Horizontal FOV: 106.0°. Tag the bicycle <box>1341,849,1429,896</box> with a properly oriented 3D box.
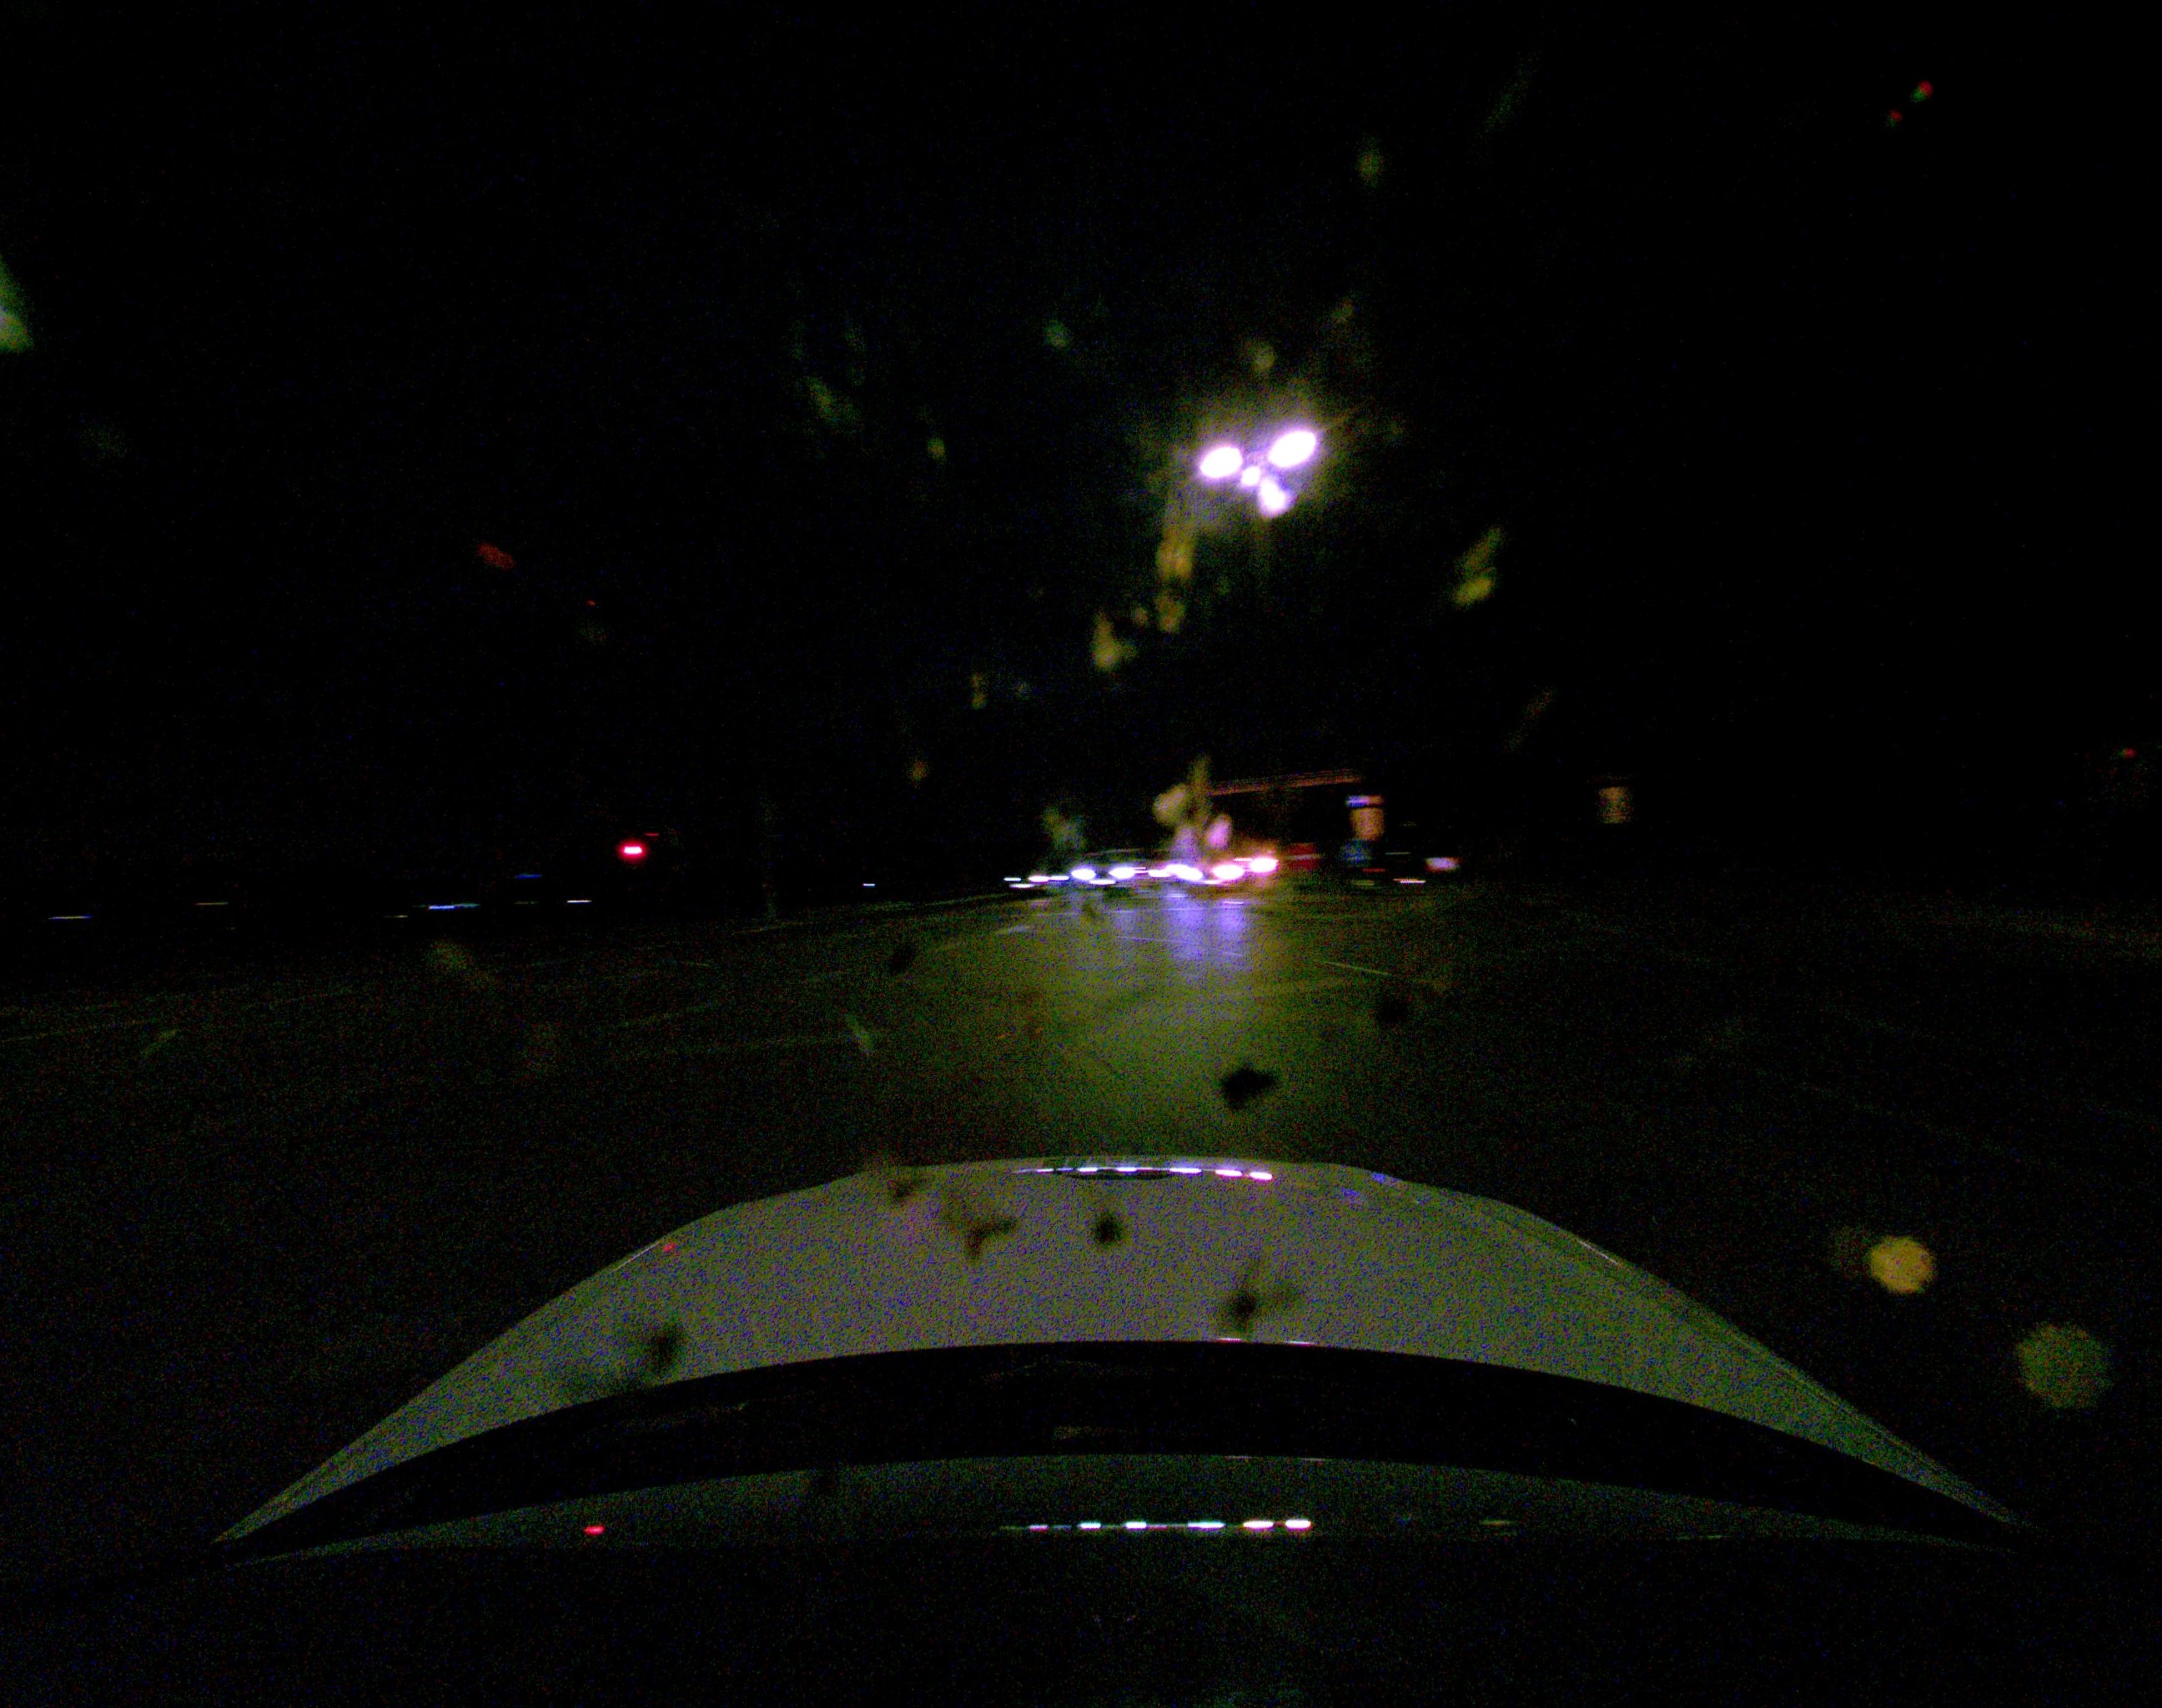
[{"bbox_3d":[7.900,0.482,21.258,2.046,1.101,0.698,-3,-1,14],"label":"bicycle"}]

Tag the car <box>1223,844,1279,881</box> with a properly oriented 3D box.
[{"bbox_3d":[7.607,0.335,36.199,1.758,1.481,3.931,-2,0,21],"label":"car"}]

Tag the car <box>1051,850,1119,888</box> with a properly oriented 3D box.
[{"bbox_3d":[0.271,0.655,38.173,1.816,1.524,4.021,-4,0,20],"label":"car"}]

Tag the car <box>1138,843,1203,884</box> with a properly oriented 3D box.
[{"bbox_3d":[4.104,0.397,36.708,1.730,1.626,4.386,-3,0,21],"label":"car"}]

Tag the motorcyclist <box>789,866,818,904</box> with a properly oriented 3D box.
[{"bbox_3d":[-14.042,1.579,41.208,0.905,1.809,0.876,-10,-6,37],"label":"motorcyclist"}]

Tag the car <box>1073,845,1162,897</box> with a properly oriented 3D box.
[{"bbox_3d":[1.440,0.572,29.989,1.892,1.682,4.443,-3,0,21],"label":"car"}]

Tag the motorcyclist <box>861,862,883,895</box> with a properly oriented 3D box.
[{"bbox_3d":[-11.553,1.345,44.975,0.676,1.759,0.794,-8,-4,24],"label":"motorcyclist"}]

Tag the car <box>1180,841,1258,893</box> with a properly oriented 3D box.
[{"bbox_3d":[5.014,0.405,29.083,1.836,1.633,4.609,-3,0,20],"label":"car"}]

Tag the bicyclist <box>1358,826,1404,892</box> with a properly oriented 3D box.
[{"bbox_3d":[7.824,0.141,21.247,0.989,1.651,0.606,-3,-1,14],"label":"bicyclist"}]

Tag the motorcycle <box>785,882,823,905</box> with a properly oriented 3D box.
[{"bbox_3d":[-14.000,1.981,41.195,0.713,1.033,1.587,-10,-6,37],"label":"motorcycle"}]

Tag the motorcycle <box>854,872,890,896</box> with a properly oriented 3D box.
[{"bbox_3d":[-11.529,1.627,44.917,0.839,1.181,1.831,-8,-4,24],"label":"motorcycle"}]

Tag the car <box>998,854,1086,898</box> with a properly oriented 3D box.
[{"bbox_3d":[-1.453,0.825,32.176,1.765,1.445,4.314,-3,0,22],"label":"car"}]
